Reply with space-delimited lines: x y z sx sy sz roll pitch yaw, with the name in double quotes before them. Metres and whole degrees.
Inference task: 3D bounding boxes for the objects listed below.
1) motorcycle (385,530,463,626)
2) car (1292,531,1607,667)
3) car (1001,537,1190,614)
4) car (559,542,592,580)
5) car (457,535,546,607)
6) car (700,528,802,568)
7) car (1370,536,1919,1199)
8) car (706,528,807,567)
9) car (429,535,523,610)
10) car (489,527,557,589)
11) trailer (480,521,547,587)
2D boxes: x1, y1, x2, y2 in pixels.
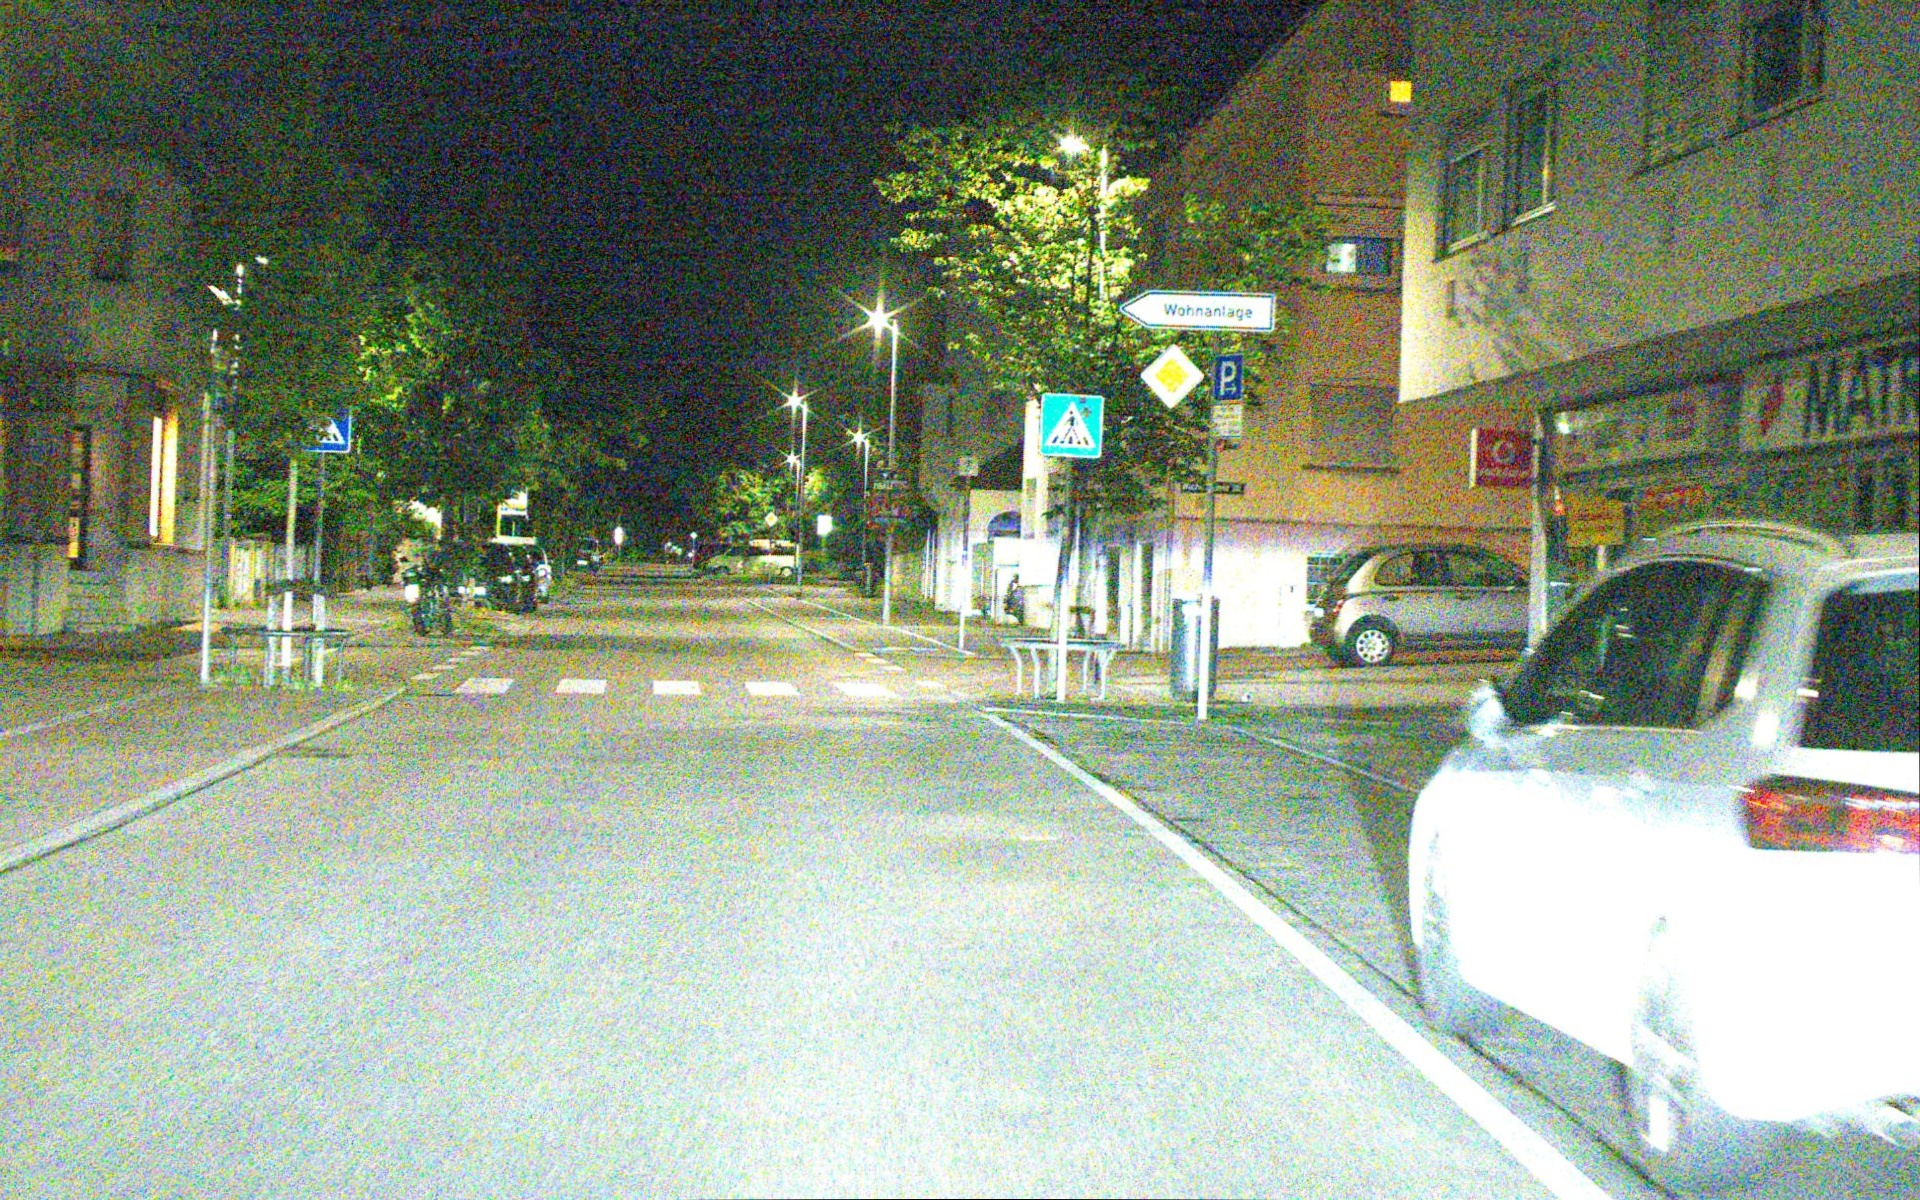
"motorcycle" -8.297 -0.345 53.284 0.746 1.447 2.195 1 1 3
"car" 6.066 -0.028 42.830 3.505 1.519 1.821 -2 1 -6
"car" 2.742 -0.502 70.109 3.711 1.468 1.731 1 1 -2
"car" -22.501 -2.252 200.996 1.824 1.980 4.466 3 -2 -7
"car" -10.320 -0.673 77.630 1.766 1.514 4.279 2 1 -5
"car" -10.847 -2.695 178.223 5.181 2.007 2.102 0 1 -6
"car" 2.371 0.613 9.356 1.742 1.563 4.209 0 1 -4
"car" -10.744 -2.763 181.311 5.181 2.007 2.102 0 1 -6
"car" -10.160 -0.600 72.388 1.687 1.505 4.279 1 1 -5
"car" -11.619 -1.131 91.589 1.671 1.517 2.979 3 1 -7
"trailer" -12.296 -1.275 94.775 1.448 1.682 3.426 4 1 -3
